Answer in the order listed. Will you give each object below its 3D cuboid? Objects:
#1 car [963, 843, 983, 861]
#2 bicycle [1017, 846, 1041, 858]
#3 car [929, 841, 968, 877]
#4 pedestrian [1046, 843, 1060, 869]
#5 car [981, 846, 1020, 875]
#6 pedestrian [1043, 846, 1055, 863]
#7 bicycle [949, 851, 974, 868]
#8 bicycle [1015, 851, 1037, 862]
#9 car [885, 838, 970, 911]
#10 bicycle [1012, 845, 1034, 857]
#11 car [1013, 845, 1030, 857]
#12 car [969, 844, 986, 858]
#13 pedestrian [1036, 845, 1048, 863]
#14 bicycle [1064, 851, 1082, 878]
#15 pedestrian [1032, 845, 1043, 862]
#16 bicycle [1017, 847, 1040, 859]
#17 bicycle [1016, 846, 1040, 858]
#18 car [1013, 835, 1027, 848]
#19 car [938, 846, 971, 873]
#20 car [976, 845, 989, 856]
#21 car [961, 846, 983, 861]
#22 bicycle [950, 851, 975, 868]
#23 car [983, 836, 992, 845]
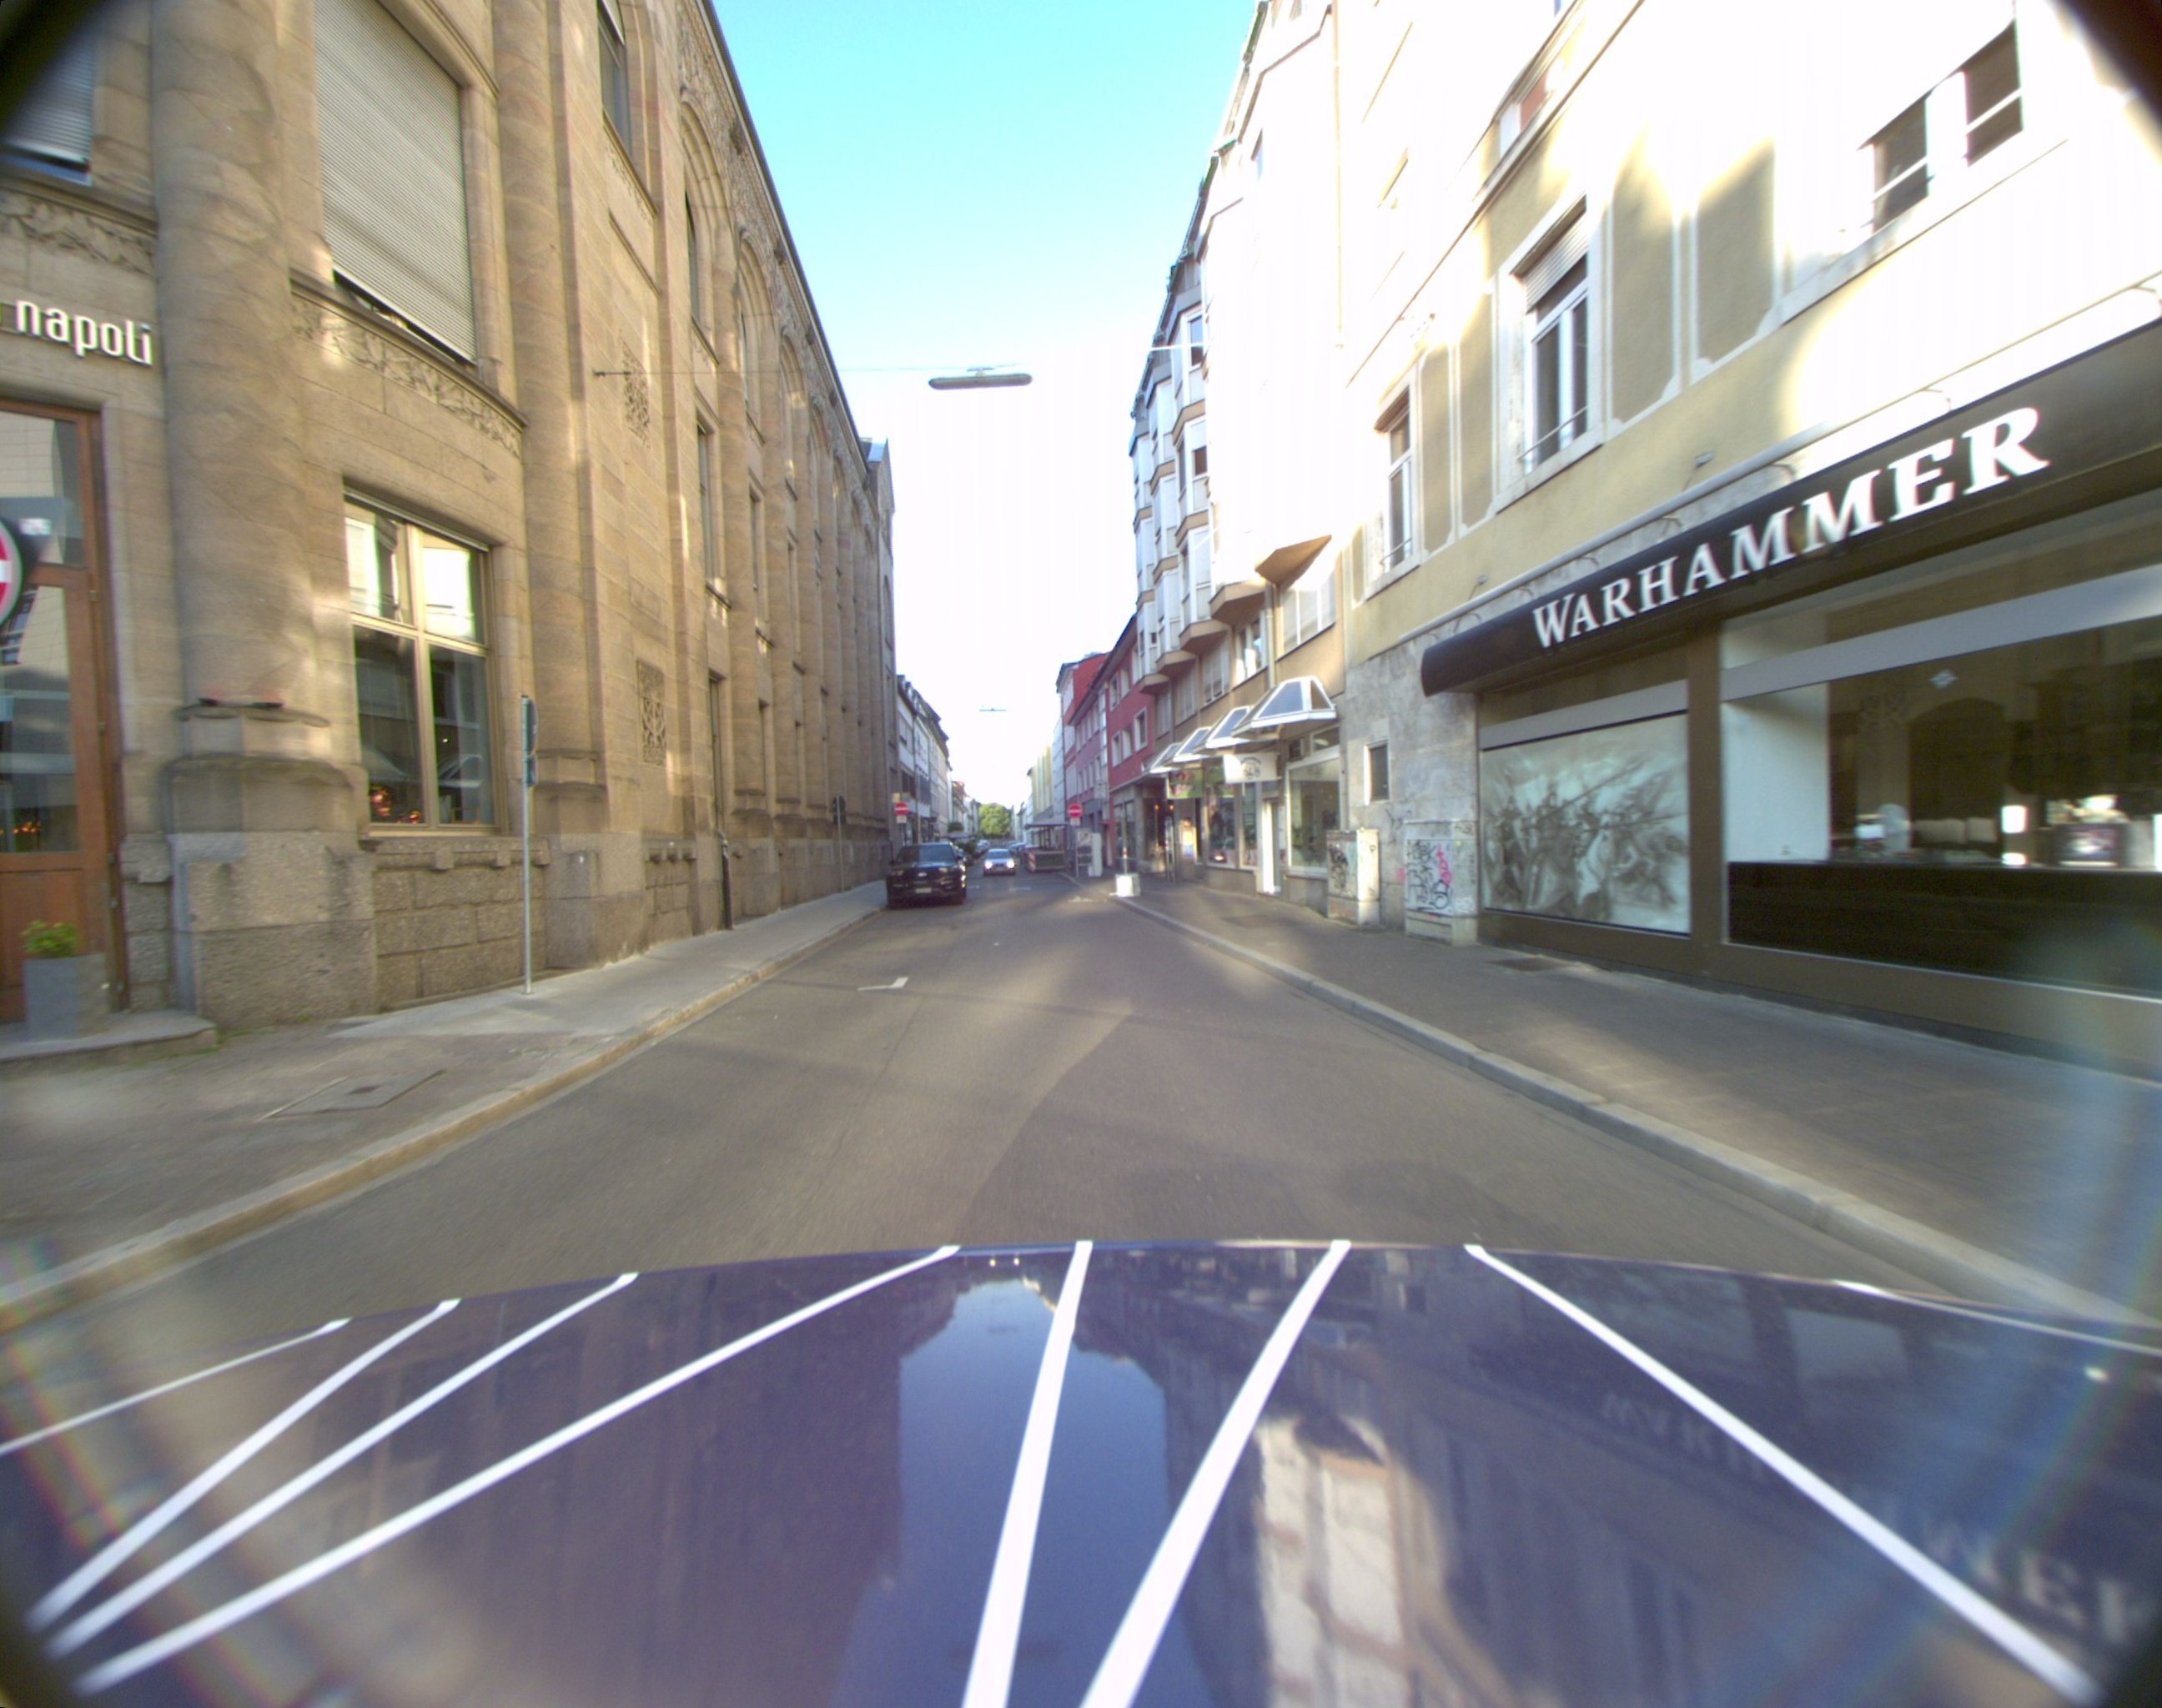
[{"bbox_3d":[-11.731,-0.219,82.696,1.999,1.835,3.997,-3,1,-6],"label":"car"},{"bbox_3d":[-5.749,-0.200,84.154,2.482,1.172,0.784,-3,2,-1],"label":"bicycle"},{"bbox_3d":[-7.208,0.233,41.787,1.675,1.796,4.236,-4,1,-5],"label":"car"},{"bbox_3d":[-1.660,0.107,44.996,0.612,1.464,0.547,-4,2,-14],"label":"pedestrian"},{"bbox_3d":[-4.475,0.322,42.208,1.999,1.414,4.455,-3,1,-6],"label":"car"},{"bbox_3d":[-2.042,0.022,48.483,0.603,1.057,0.547,-4,2,-14],"label":"pedestrian"},{"bbox_3d":[-9.295,0.428,59.295,1.875,1.295,0.596,1,1,-6],"label":"bicycle"},{"bbox_3d":[-6.295,0.279,87.226,2.482,1.172,0.784,-3,2,-1],"label":"bicycle"},{"bbox_3d":[-4.306,0.490,22.028,2.000,1.773,4.930,-3,1,-7],"label":"car"},{"bbox_3d":[-6.822,-0.379,90.030,2.482,1.323,0.784,-3,2,-1],"label":"bicycle"},{"bbox_3d":[-7.800,-0.430,99.159,1.999,1.462,4.455,-3,1,-6],"label":"car"},{"bbox_3d":[-13.272,-0.347,97.888,1.999,1.667,4.455,-3,1,-6],"label":"car"},{"bbox_3d":[-2.438,0.003,47.734,0.612,1.057,0.547,-4,2,-14],"label":"pedestrian"},{"bbox_3d":[-0.380,0.457,34.801,0.545,1.185,1.840,-3,1,-7],"label":"bicycle"},{"bbox_3d":[-2.928,-0.024,51.007,0.634,1.061,0.559,-4,2,-14],"label":"pedestrian"},{"bbox_3d":[-5.827,-0.151,85.047,2.482,1.172,0.784,-3,2,-1],"label":"bicycle"},{"bbox_3d":[-5.800,-0.231,83.232,2.482,1.172,0.784,-3,2,-1],"label":"bicycle"},{"bbox_3d":[-9.794,-1.966,121.142,1.999,2.030,4.455,-3,1,-6],"label":"car"},{"bbox_3d":[-7.763,0.286,46.910,1.695,1.508,4.987,-3,1,-6],"label":"car"},{"bbox_3d":[-16.013,-0.581,123.681,1.999,1.667,4.455,-3,1,-6],"label":"car"},{"bbox_3d":[-10.336,-0.049,72.221,1.941,1.289,3.997,-3,1,-6],"label":"car"},{"bbox_3d":[-9.368,0.431,59.974,1.875,1.221,0.596,1,1,-6],"label":"bicycle"},{"bbox_3d":[-21.308,-3.121,173.675,1.999,1.884,4.455,-3,1,-6],"label":"car"}]
